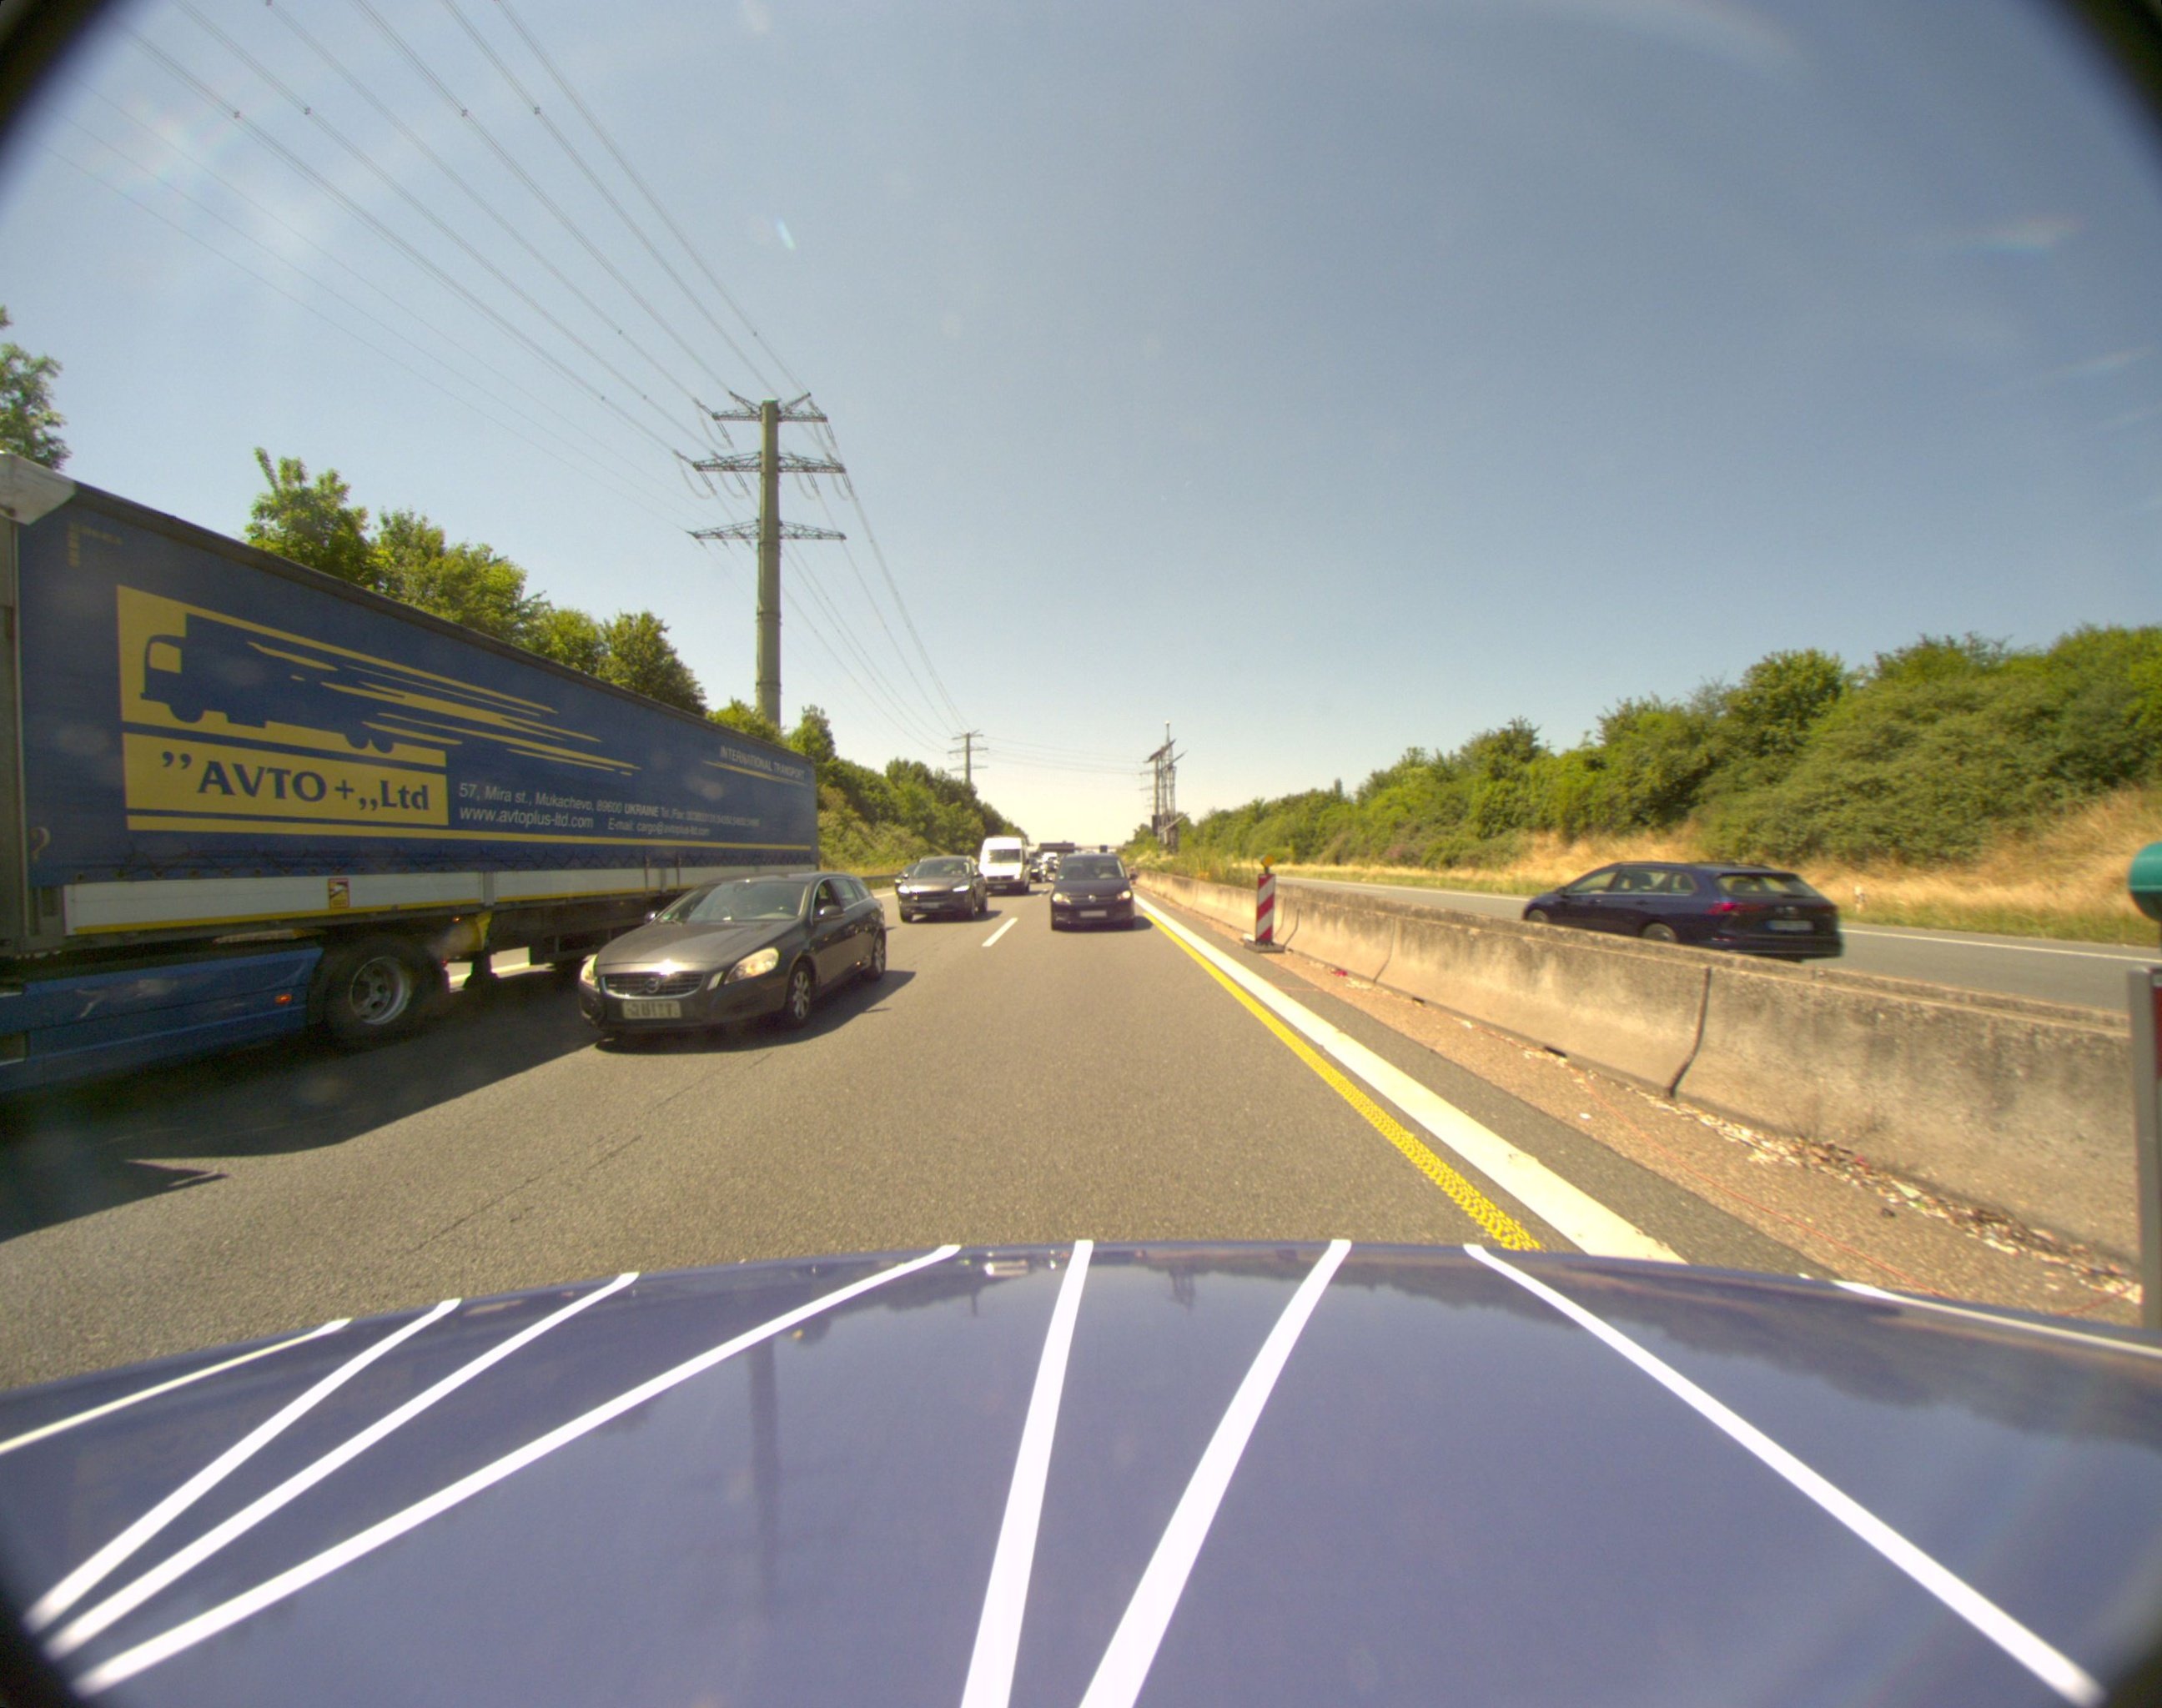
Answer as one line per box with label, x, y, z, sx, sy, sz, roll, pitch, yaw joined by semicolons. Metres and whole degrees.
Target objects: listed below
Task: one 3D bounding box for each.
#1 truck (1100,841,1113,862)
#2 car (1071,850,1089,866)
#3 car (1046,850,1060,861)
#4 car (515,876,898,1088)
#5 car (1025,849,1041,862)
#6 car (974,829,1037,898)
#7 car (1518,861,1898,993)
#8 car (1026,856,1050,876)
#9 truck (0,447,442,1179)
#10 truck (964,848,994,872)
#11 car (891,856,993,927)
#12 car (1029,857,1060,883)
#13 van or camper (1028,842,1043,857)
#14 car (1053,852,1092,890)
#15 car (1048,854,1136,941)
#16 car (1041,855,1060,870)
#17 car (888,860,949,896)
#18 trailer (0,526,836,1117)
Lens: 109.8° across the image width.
truck;4.063;-0.353;122.917;1.892;3.263;5.590;-2;1;1
car;-0.130;0.455;88.989;1.973;1.682;3.874;-2;0;1
car;-3.971;0.196;109.245;1.720;1.510;3.874;-2;0;1
car;-3.448;1.062;8.156;1.799;1.411;4.509;-2;0;0
car;-6.208;0.196;97.986;1.720;1.510;3.874;-2;0;1
car;-3.251;0.370;34.125;2.042;2.702;6.705;-2;0;0
car;8.577;0.873;11.076;1.867;1.481;4.493;0;0;1
car;-3.626;0.983;64.554;1.720;1.510;3.874;-2;0;1
truck;-7.470;-0.201;4.246;2.792;4.120;5.636;-2;1;0
truck;-9.849;0.540;73.751;2.254;2.155;5.727;-2;0;-1
car;-3.581;0.912;20.373;1.893;1.602;4.219;-2;0;0
car;-2.310;1.001;48.671;1.720;1.510;3.874;-2;0;1
van or camper;-7.718;-0.799;129.084;1.978;2.511;4.369;-2;1;1
car;-0.369;0.774;36.294;1.700;1.641;4.219;-2;0;0
car;0.227;0.861;17.260;1.700;1.641;4.219;-2;0;0
car;-3.254;0.859;81.598;1.720;1.510;3.874;-2;0;1
car;-7.733;1.097;36.649;1.795;1.503;4.854;-2;0;0
trailer;-7.436;-0.249;11.986;2.774;4.239;12.877;-2;0;0
